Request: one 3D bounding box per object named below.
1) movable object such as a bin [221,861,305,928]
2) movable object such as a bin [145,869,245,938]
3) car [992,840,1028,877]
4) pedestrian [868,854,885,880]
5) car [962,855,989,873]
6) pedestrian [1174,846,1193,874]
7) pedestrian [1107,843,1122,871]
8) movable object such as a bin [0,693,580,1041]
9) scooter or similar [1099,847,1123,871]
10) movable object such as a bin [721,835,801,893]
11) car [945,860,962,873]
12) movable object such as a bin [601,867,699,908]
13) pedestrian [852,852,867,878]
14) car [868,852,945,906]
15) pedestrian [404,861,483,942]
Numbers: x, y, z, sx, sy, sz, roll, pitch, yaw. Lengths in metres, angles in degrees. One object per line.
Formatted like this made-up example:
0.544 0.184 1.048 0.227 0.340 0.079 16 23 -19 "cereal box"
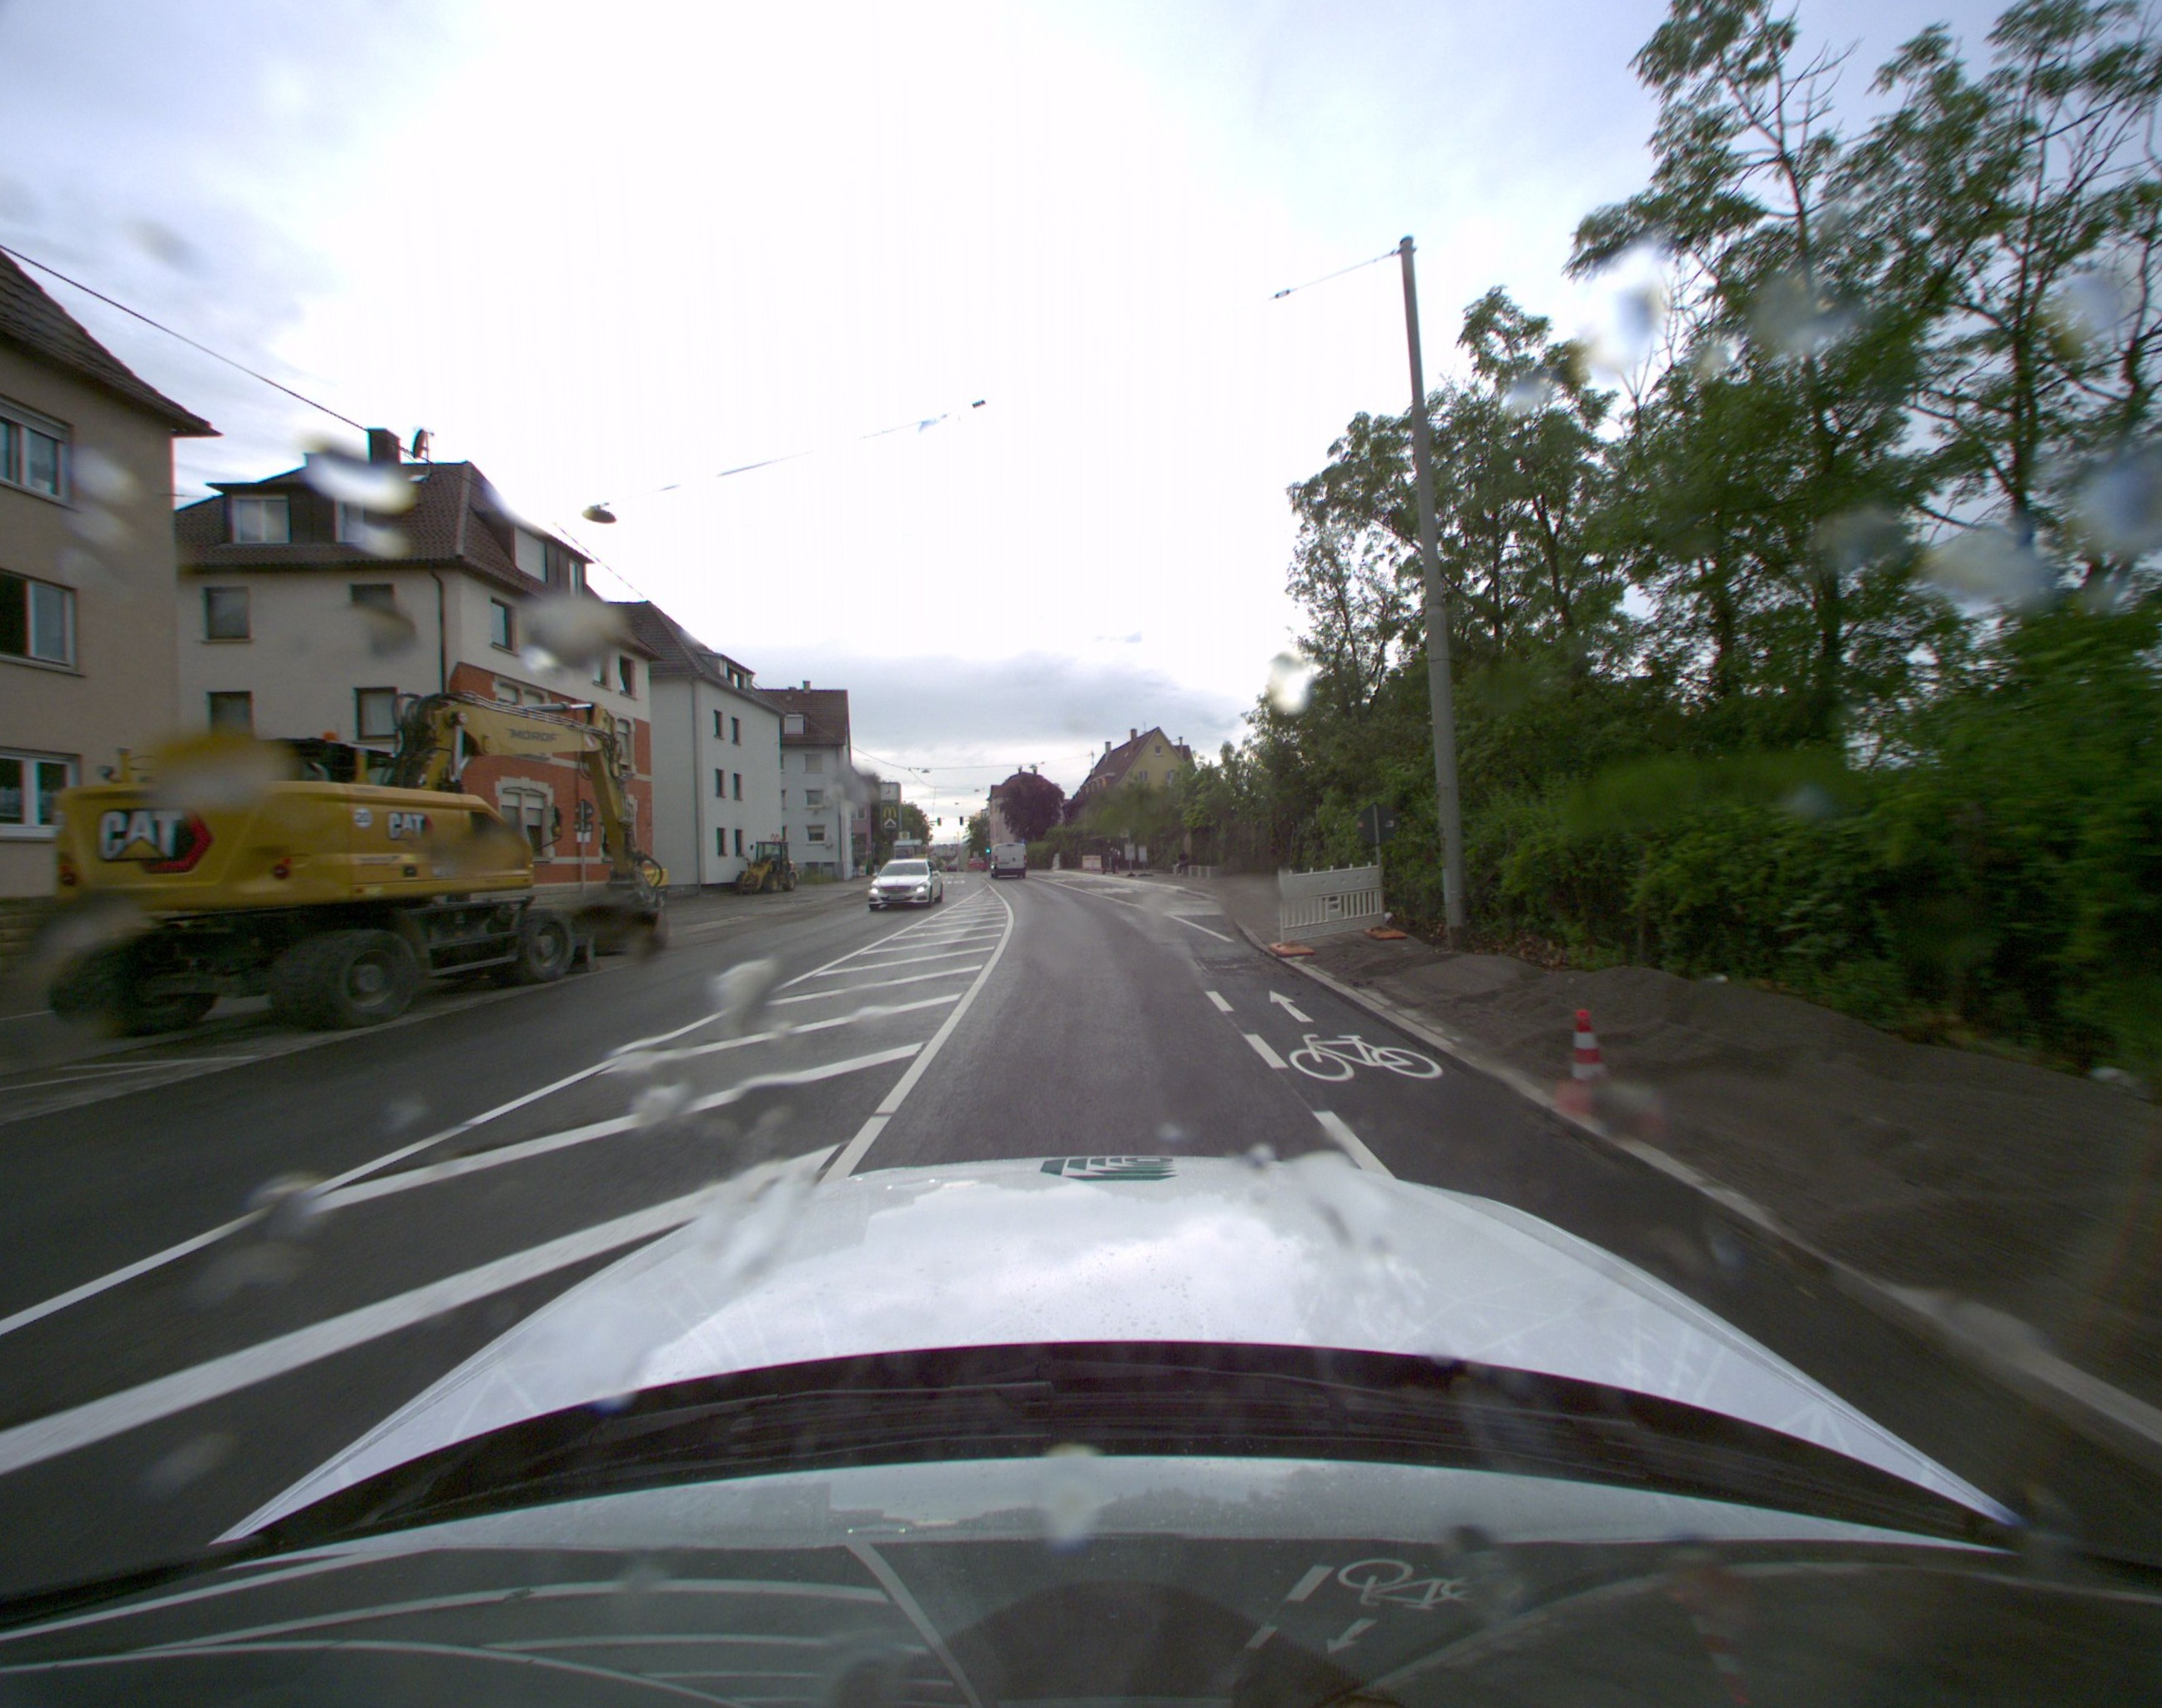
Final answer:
-18.198 0.883 18.142 0.852 1.411 0.956 -1 2 -5 "movable object such as a bin"
-19.630 1.076 18.066 1.083 1.411 0.956 -1 2 -5 "movable object such as a bin"
-4.730 0.240 53.841 2.235 2.213 4.704 -1 2 -6 "car"
-16.283 1.000 64.908 1.206 2.013 1.049 -1 2 -10 "pedestrian"
-10.995 1.002 84.655 2.241 1.656 4.690 -1 2 -15 "car"
5.197 0.287 41.320 0.875 1.367 1.066 -1 2 2 "pedestrian"
2.073 0.178 49.941 0.902 1.731 0.654 -1 2 2 "pedestrian"
-8.652 0.084 9.567 2.861 3.173 4.126 -1 1 1 "movable object such as a bin"
1.818 0.300 49.946 1.565 1.405 0.491 -5 4 -44 "scooter or similar"
-15.929 0.416 40.824 1.986 2.682 4.630 -1 2 2 "movable object such as a bin"
-19.827 1.875 126.303 2.240 1.804 4.692 -1 2 -13 "car"
-15.383 1.167 29.303 1.550 1.355 3.995 -1 -1 -3 "movable object such as a bin"
-17.943 0.874 65.899 1.081 2.013 1.047 -1 2 -14 "pedestrian"
-5.454 0.755 25.945 1.926 1.556 4.609 -1 -1 -7 "car"
-13.359 0.977 17.099 0.762 1.588 1.091 -1 2 -3 "pedestrian"
